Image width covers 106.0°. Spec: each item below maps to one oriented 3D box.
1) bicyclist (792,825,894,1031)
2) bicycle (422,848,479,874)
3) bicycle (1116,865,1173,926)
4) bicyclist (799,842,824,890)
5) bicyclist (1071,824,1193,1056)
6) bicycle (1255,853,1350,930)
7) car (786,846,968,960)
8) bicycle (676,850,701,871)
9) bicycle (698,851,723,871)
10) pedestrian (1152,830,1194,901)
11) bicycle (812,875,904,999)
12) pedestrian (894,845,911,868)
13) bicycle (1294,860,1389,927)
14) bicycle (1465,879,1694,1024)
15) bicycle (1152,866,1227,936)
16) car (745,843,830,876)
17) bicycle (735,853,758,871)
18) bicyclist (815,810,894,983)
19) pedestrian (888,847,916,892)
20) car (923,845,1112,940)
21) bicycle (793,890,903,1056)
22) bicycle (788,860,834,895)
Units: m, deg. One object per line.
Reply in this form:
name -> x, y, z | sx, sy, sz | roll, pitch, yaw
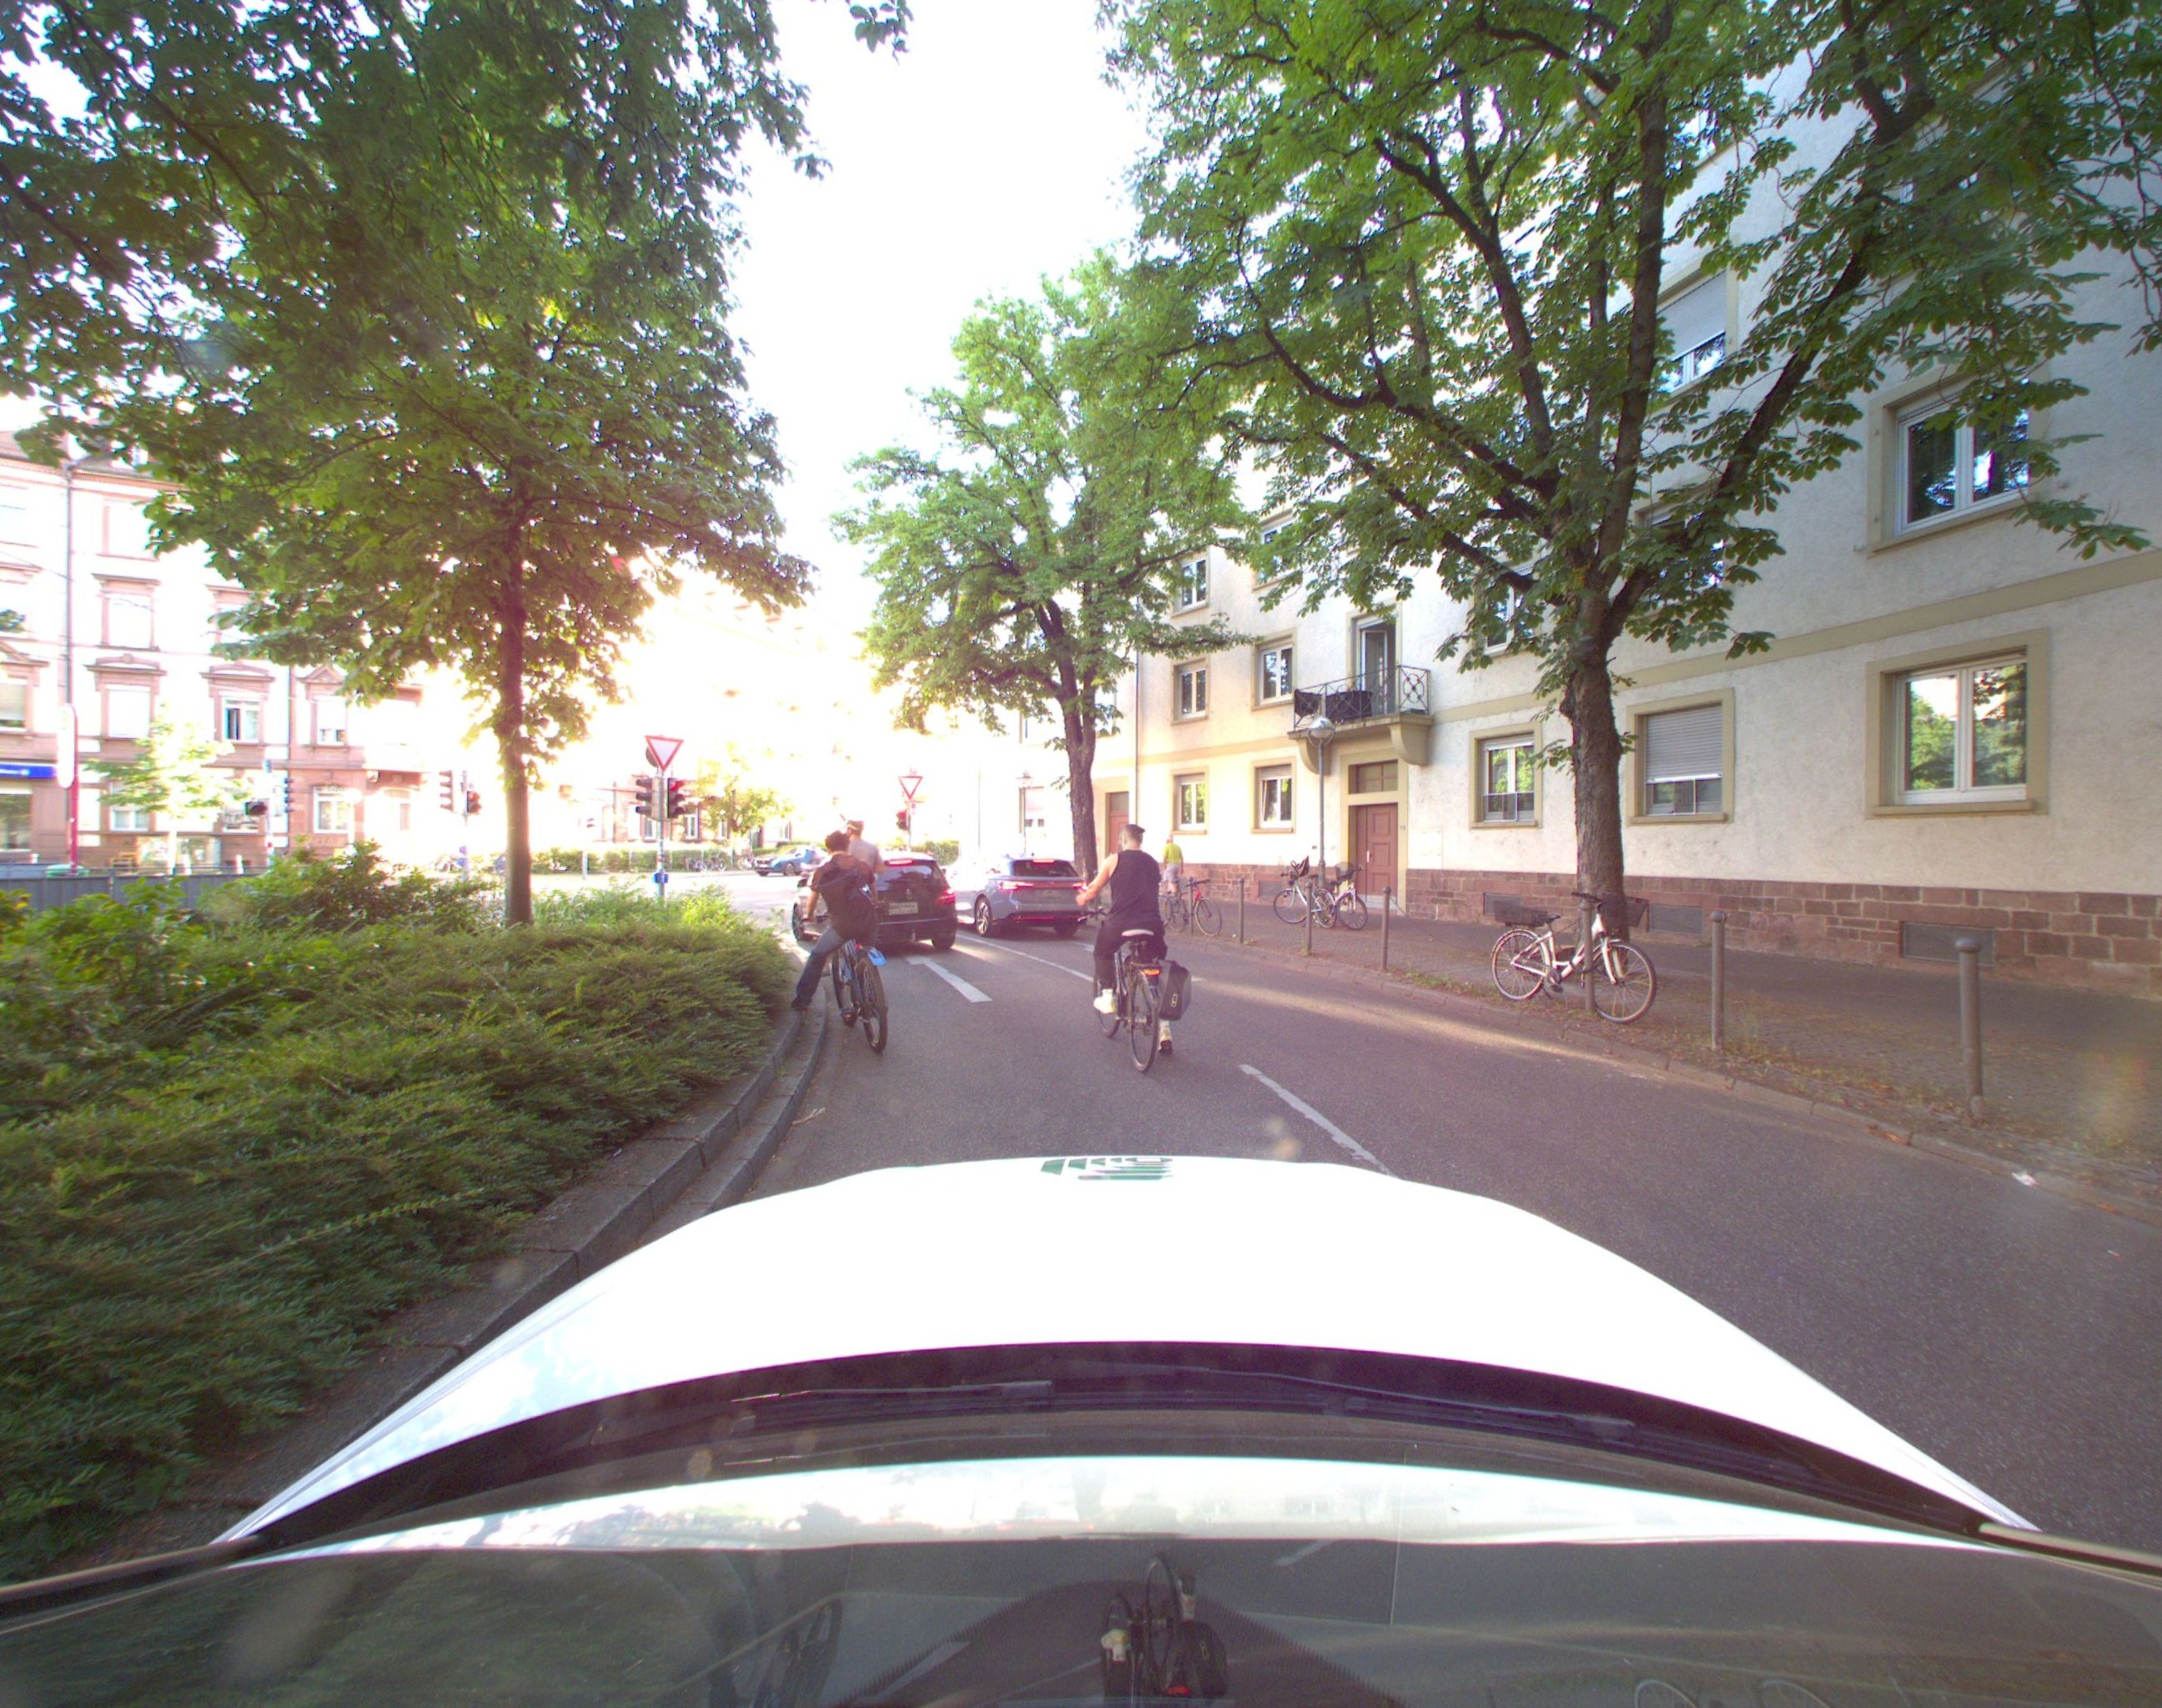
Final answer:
bicyclist -> -1.941, 0.562, 6.748 | 0.707, 1.573, 0.953 | 1, 0, -11
bicycle -> -28.126, 0.339, 36.381 | 1.975, 1.107, 0.438 | 2, -1, -38
bicycle -> 1.234, 0.796, 16.099 | 0.482, 1.063, 1.625 | -3, 2, -20
bicyclist -> -9.137, 0.398, 27.612 | 0.525, 1.598, 0.677 | 0, 0, 14
bicyclist -> 0.367, 0.609, 6.379 | 0.687, 1.656, 0.985 | -1, 0, -13
bicycle -> 4.007, 0.635, 14.917 | 0.719, 1.277, 1.954 | -1, 1, -18
car -> -3.487, 0.674, 13.406 | 1.802, 1.542, 3.821 | -2, 1, -32
bicycle -> -21.427, 0.342, 44.459 | 0.438, 1.107, 1.241 | 1, 1, 25
bicycle -> -20.798, 0.382, 45.731 | 0.438, 1.107, 1.241 | 1, 1, 25
pedestrian -> 2.309, 0.275, 20.600 | 0.646, 1.727, 0.881 | -3, 2, -25
bicycle -> -2.623, 0.868, 9.405 | 0.813, 1.184, 2.211 | 0, 0, -21
pedestrian -> -12.927, 0.189, 59.140 | 0.703, 1.664, 0.904 | 4, 2, 36
bicycle -> 4.718, 0.688, 14.916 | 0.669, 1.107, 1.955 | 1, 0, -17
bicycle -> 4.561, 0.824, 7.640 | 0.514, 1.095, 1.962 | -2, 1, -18
bicycle -> 1.904, 0.797, 14.503 | 0.528, 1.107, 1.728 | -3, 2, -21
car -> -15.709, 0.268, 43.812 | 1.926, 1.650, 4.432 | 0, 0, 19
bicycle -> -19.769, 0.444, 48.142 | 0.438, 1.038, 1.240 | 1, 1, 24
bicyclist -> -2.675, 0.471, 9.574 | 0.797, 1.913, 0.938 | 1, 0, -21
pedestrian -> -6.800, 0.577, 30.845 | 0.904, 1.635, 0.721 | 2, 1, -19
car -> -1.413, 0.656, 15.954 | 1.982, 1.585, 4.433 | 2, -1, -29
bicycle -> -1.921, 0.911, 6.965 | 0.717, 1.107, 1.959 | 1, 0, -11
bicycle -> -9.135, 0.778, 27.630 | 0.530, 1.107, 1.974 | 0, 0, 13
